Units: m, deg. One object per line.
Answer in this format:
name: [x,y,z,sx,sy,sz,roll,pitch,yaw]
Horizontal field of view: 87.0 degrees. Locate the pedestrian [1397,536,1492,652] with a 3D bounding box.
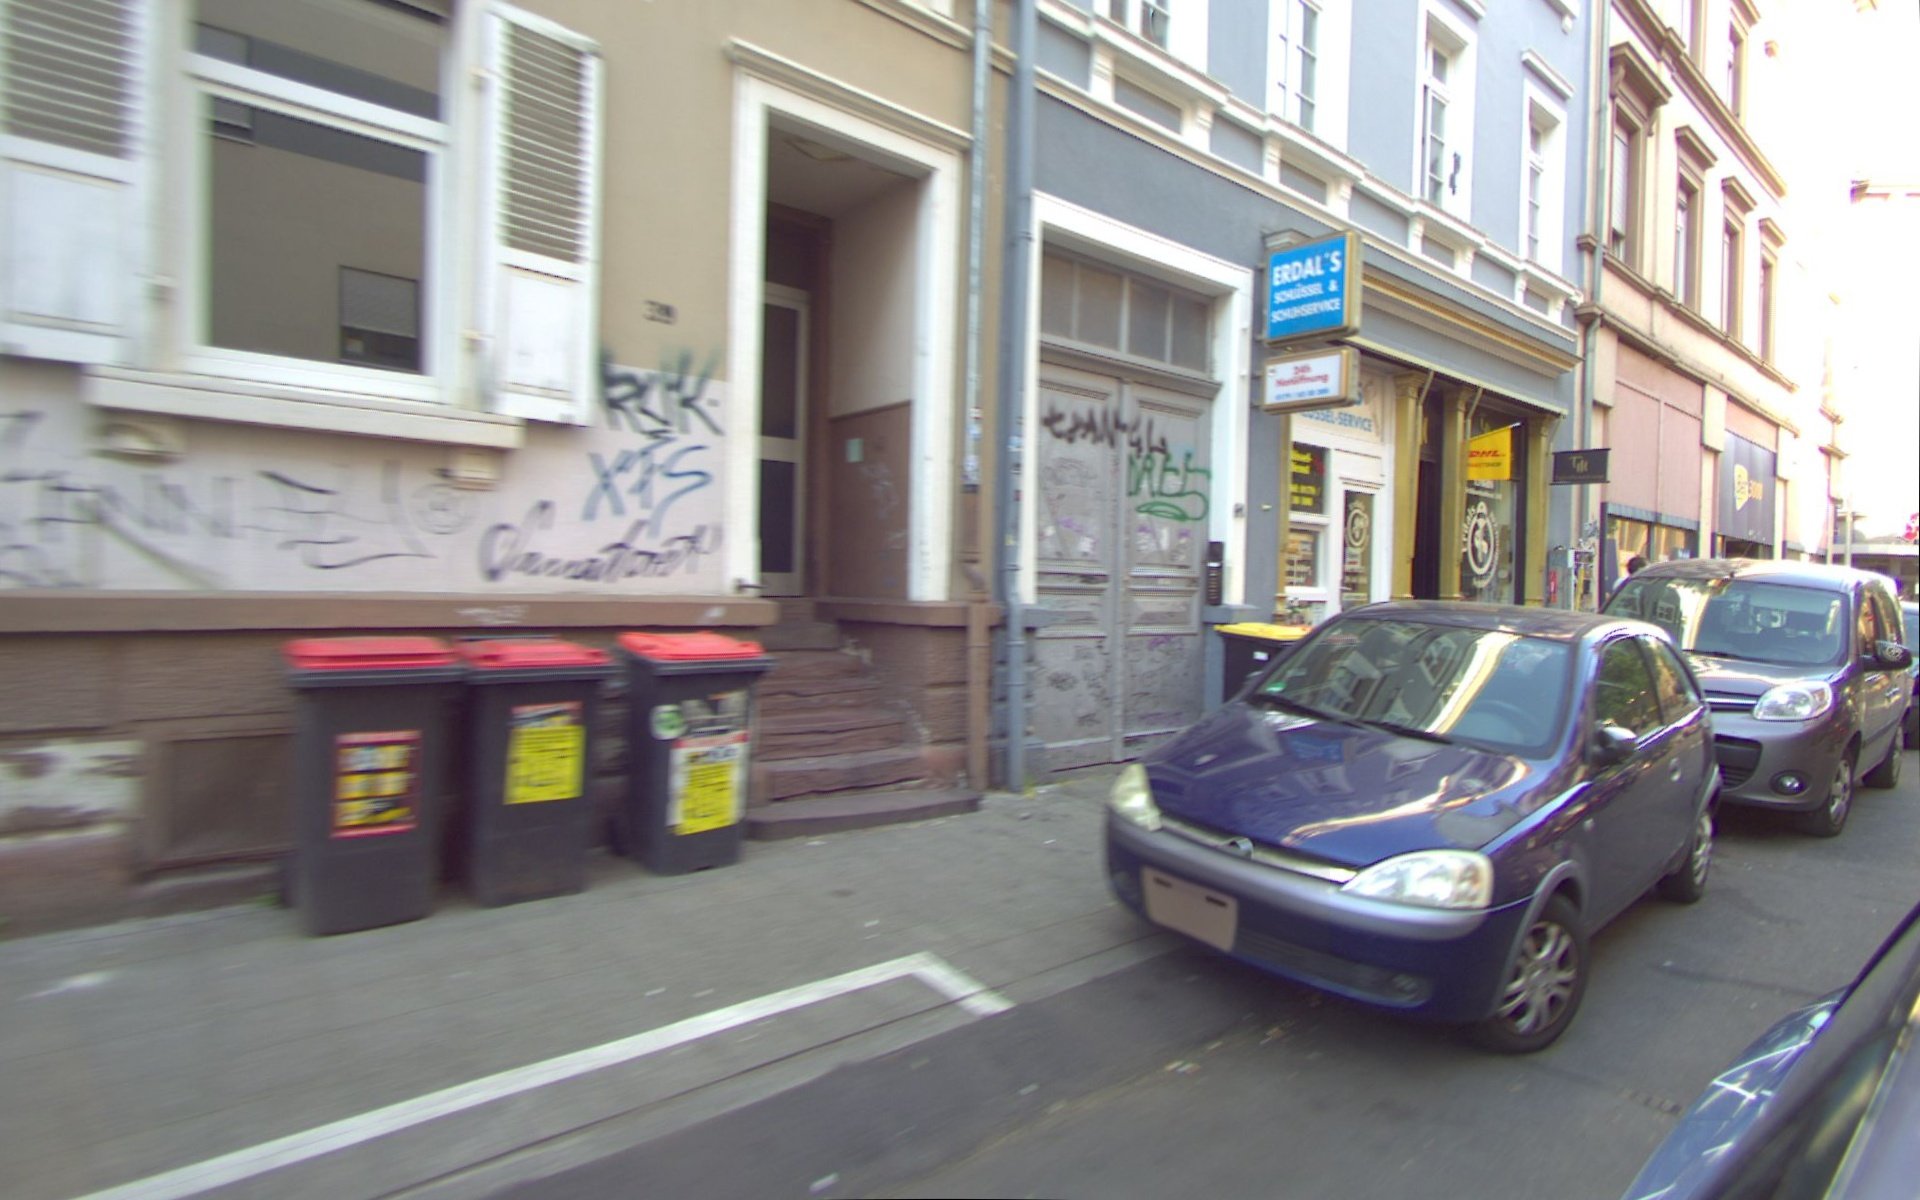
pedestrian: [4.998,-0.067,10.450,0.642,1.139,0.677,0,0,-38]

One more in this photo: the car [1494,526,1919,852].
car: [5.957,0.471,7.745,4.239,1.816,1.902,0,1,-41]

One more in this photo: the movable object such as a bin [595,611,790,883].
movable object such as a bin: [-1.264,0.629,4.747,0.621,1.101,0.696,0,3,-41]

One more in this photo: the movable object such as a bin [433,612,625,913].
movable object such as a bin: [-1.841,0.626,4.299,0.549,1.101,0.696,0,3,-40]

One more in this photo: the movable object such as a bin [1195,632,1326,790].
movable object such as a bin: [2.329,0.824,7.846,0.673,1.105,0.726,0,0,-42]

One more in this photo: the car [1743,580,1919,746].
car: [10.522,0.612,11.635,3.254,1.575,1.575,0,5,-38]

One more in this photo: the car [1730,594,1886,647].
car: [27.265,0.615,32.625,1.757,1.504,3.581,0,2,-39]

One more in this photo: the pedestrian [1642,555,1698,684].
pedestrian: [10.028,0.263,14.290,0.627,1.762,0.650,0,0,37]

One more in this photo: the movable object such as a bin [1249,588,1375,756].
movable object such as a bin: [2.864,0.549,8.249,0.570,1.258,0.763,0,2,-42]

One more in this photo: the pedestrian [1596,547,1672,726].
pedestrian: [6.836,0.352,10.271,0.551,1.762,0.428,0,0,-27]

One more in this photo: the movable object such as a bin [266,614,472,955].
movable object such as a bin: [-2.285,0.634,3.890,0.549,1.101,0.754,0,3,-40]

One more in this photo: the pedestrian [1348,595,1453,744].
pedestrian: [4.035,0.608,9.287,0.617,1.293,0.677,0,0,-38]

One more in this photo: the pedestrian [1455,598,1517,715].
pedestrian: [5.801,0.603,11.165,0.505,1.238,0.439,0,0,-38]

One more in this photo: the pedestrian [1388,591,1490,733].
pedestrian: [4.589,0.560,9.712,0.642,1.293,0.677,0,0,-38]

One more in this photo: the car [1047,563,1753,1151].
car: [2.144,0.647,4.418,3.551,1.530,1.554,-1,1,-43]

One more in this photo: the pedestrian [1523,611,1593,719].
pedestrian: [7.071,0.753,11.976,0.505,1.238,0.532,0,0,0]

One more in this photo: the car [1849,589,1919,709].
car: [14.086,0.638,14.463,3.491,1.592,1.609,0,1,-40]
